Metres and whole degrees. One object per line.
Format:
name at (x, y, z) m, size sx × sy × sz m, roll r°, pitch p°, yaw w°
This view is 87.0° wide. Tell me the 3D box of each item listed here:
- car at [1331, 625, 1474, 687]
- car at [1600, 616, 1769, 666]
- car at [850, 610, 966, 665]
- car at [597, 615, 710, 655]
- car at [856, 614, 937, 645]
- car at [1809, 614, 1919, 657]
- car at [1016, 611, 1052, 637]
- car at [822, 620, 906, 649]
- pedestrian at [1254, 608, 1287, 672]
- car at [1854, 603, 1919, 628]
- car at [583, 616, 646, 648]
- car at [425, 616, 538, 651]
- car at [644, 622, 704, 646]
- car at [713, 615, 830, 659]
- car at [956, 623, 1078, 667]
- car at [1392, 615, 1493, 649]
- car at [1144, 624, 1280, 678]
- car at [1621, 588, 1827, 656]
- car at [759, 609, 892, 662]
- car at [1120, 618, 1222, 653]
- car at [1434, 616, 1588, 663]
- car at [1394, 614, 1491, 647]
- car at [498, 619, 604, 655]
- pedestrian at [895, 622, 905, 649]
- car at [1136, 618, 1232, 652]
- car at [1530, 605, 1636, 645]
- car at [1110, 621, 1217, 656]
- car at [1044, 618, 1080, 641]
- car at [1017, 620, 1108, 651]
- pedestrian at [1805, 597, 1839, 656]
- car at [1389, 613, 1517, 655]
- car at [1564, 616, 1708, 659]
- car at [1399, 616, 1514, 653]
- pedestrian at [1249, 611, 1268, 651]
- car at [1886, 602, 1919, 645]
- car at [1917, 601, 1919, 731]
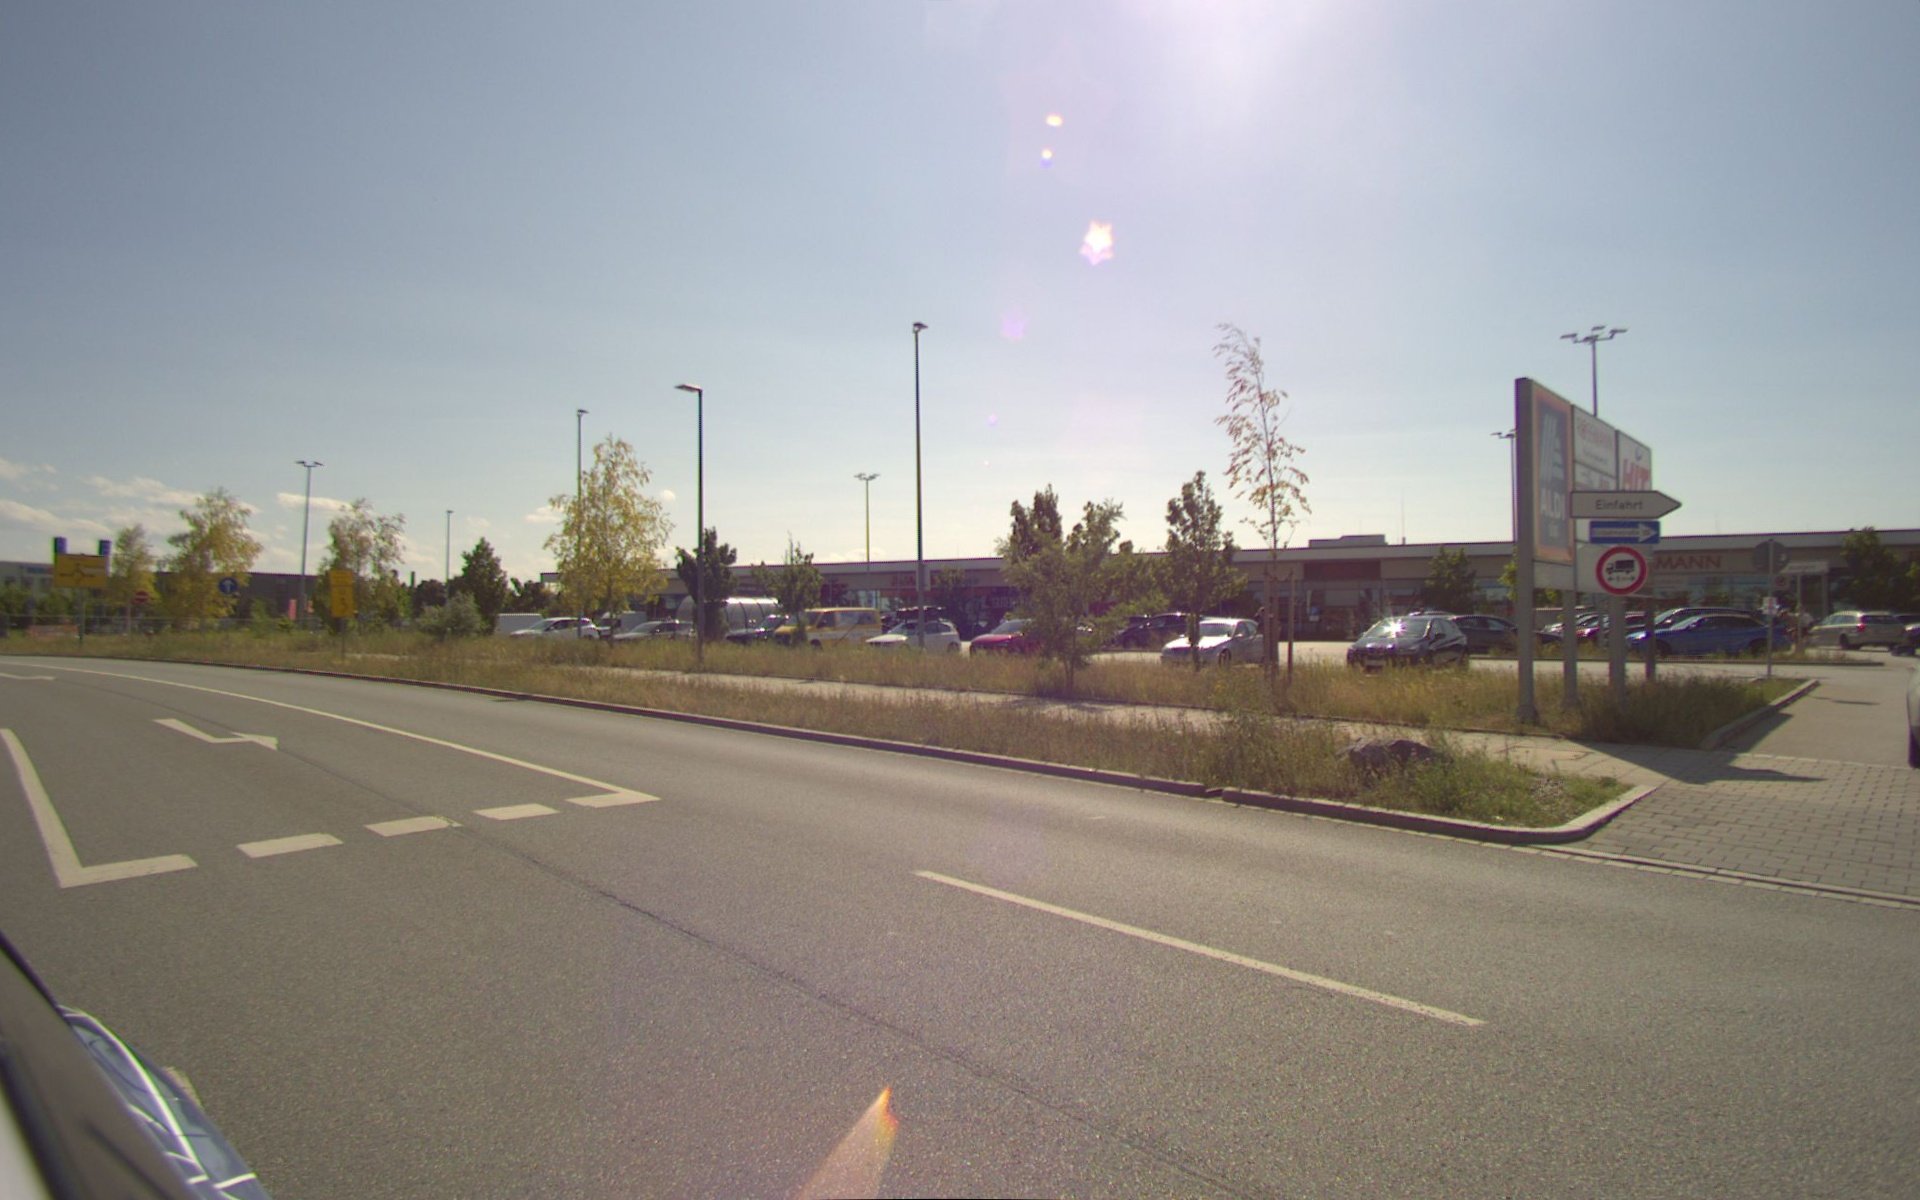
car at (10.653, 1.274, 24.231) m, size 1.936 × 1.358 × 4.099 m, roll -2°, pitch -2°, yaw 42°
car at (24.440, 1.376, 34.338) m, size 4.324 × 1.593 × 1.705 m, roll -1°, pitch -2°, yaw 22°
car at (-1.826, 1.321, 36.609) m, size 1.931 × 1.875 × 4.102 m, roll -2°, pitch -2°, yaw 40°
car at (-13.754, 1.570, 45.629) m, size 1.996 × 1.685 × 4.660 m, roll -1°, pitch -2°, yaw 35°
car at (-3.796, 1.762, 60.462) m, size 4.557 × 1.754 × 1.703 m, roll -1°, pitch -2°, yaw 25°
car at (34.914, 1.331, 39.118) m, size 1.825 × 1.559 × 3.976 m, roll 0°, pitch -1°, yaw 18°
car at (5.361, 1.716, 72.703) m, size 1.702 × 1.821 × 4.331 m, roll -1°, pitch -2°, yaw 16°
car at (-5.233, 1.900, 55.195) m, size 4.322 × 1.538 × 1.705 m, roll -1°, pitch -2°, yaw 21°
pedestrian at (8.433, 1.077, 27.513) m, size 0.578 × 1.708 × 0.756 m, roll -1°, pitch -2°, yaw 43°
car at (69.074, 1.143, 74.578) m, size 4.353 × 1.804 × 1.903 m, roll -1°, pitch -1°, yaw 23°
car at (-29.149, 2.665, 85.566) m, size 1.925 × 2.607 × 5.681 m, roll -1°, pitch -2°, yaw 20°
car at (-24.704, 1.727, 52.449) m, size 1.991 × 1.685 × 5.146 m, roll -1°, pitch -2°, yaw 28°
car at (-18.968, 2.238, 67.290) m, size 1.832 × 1.564 × 3.969 m, roll -1°, pitch -2°, yaw 23°
car at (-7.574, 1.468, 41.114) m, size 1.878 × 1.685 × 4.725 m, roll -1°, pitch -2°, yaw 36°
car at (1.941, 1.462, 33.517) m, size 1.936 × 1.358 × 4.099 m, roll -2°, pitch -2°, yaw 42°
car at (23.508, 1.567, 49.474) m, size 4.324 × 1.614 × 1.705 m, roll -1°, pitch -2°, yaw 22°
car at (6.974, 1.348, 27.786) m, size 1.936 × 1.358 × 4.099 m, roll -2°, pitch -2°, yaw 42°
car at (23.778, 0.707, 31.732) m, size 4.800 × 2.001 × 1.705 m, roll -1°, pitch -2°, yaw 22°
car at (-5.269, 1.396, 40.461) m, size 1.996 × 1.980 × 5.630 m, roll -1°, pitch -2°, yaw 36°
car at (9.601, 1.621, 46.087) m, size 4.324 × 1.561 × 1.705 m, roll -1°, pitch -2°, yaw 22°
car at (18.365, 1.317, 33.972) m, size 4.324 × 1.528 × 1.705 m, roll -1°, pitch -2°, yaw 22°
car at (24.484, 1.550, 51.519) m, size 4.324 × 1.607 × 1.772 m, roll -1°, pitch -2°, yaw 22°
car at (-20.167, 1.820, 50.080) m, size 1.995 × 1.685 × 4.551 m, roll -1°, pitch -2°, yaw 34°
pedestrian at (-3.257, 1.911, 54.998) m, size 0.411 × 1.475 × 0.506 m, roll -1°, pitch -2°, yaw 24°
car at (10.876, 1.680, 49.100) m, size 4.324 × 1.584 × 1.705 m, roll -1°, pitch -2°, yaw 22°
car at (31.928, 1.311, 51.978) m, size 4.324 × 1.973 × 1.705 m, roll -1°, pitch -2°, yaw 22°
car at (8.808, 1.659, 43.797) m, size 4.324 × 1.428 × 1.705 m, roll -1°, pitch -2°, yaw 22°
car at (7.145, 2.049, 70.382) m, size 1.702 × 1.530 × 4.331 m, roll -1°, pitch -2°, yaw 16°
car at (5.196, 1.800, 51.291) m, size 4.328 × 1.538 × 1.703 m, roll -1°, pitch -2°, yaw 24°
pedestrian at (26.282, 0.794, 30.877) m, size 0.543 × 1.773 × 0.793 m, roll -1°, pitch -1°, yaw 23°
car at (19.111, 1.305, 39.432) m, size 4.324 × 1.573 × 1.705 m, roll -1°, pitch -2°, yaw 22°
car at (26.114, 1.447, 39.287) m, size 4.324 × 1.588 × 1.705 m, roll -1°, pitch -2°, yaw 22°
car at (21.541, 1.516, 44.120) m, size 4.324 × 1.556 × 1.705 m, roll -1°, pitch -2°, yaw 22°
pedestrian at (14.118, 1.459, 47.870) m, size 0.776 × 1.837 × 0.566 m, roll -1°, pitch -1°, yaw 23°
car at (41.872, 0.980, 42.194) m, size 4.347 × 1.752 × 1.906 m, roll 0°, pitch -1°, yaw 19°
car at (10.968, 0.773, 10.145) m, size 1.917 × 1.559 × 4.166 m, roll -1°, pitch -2°, yaw 43°
